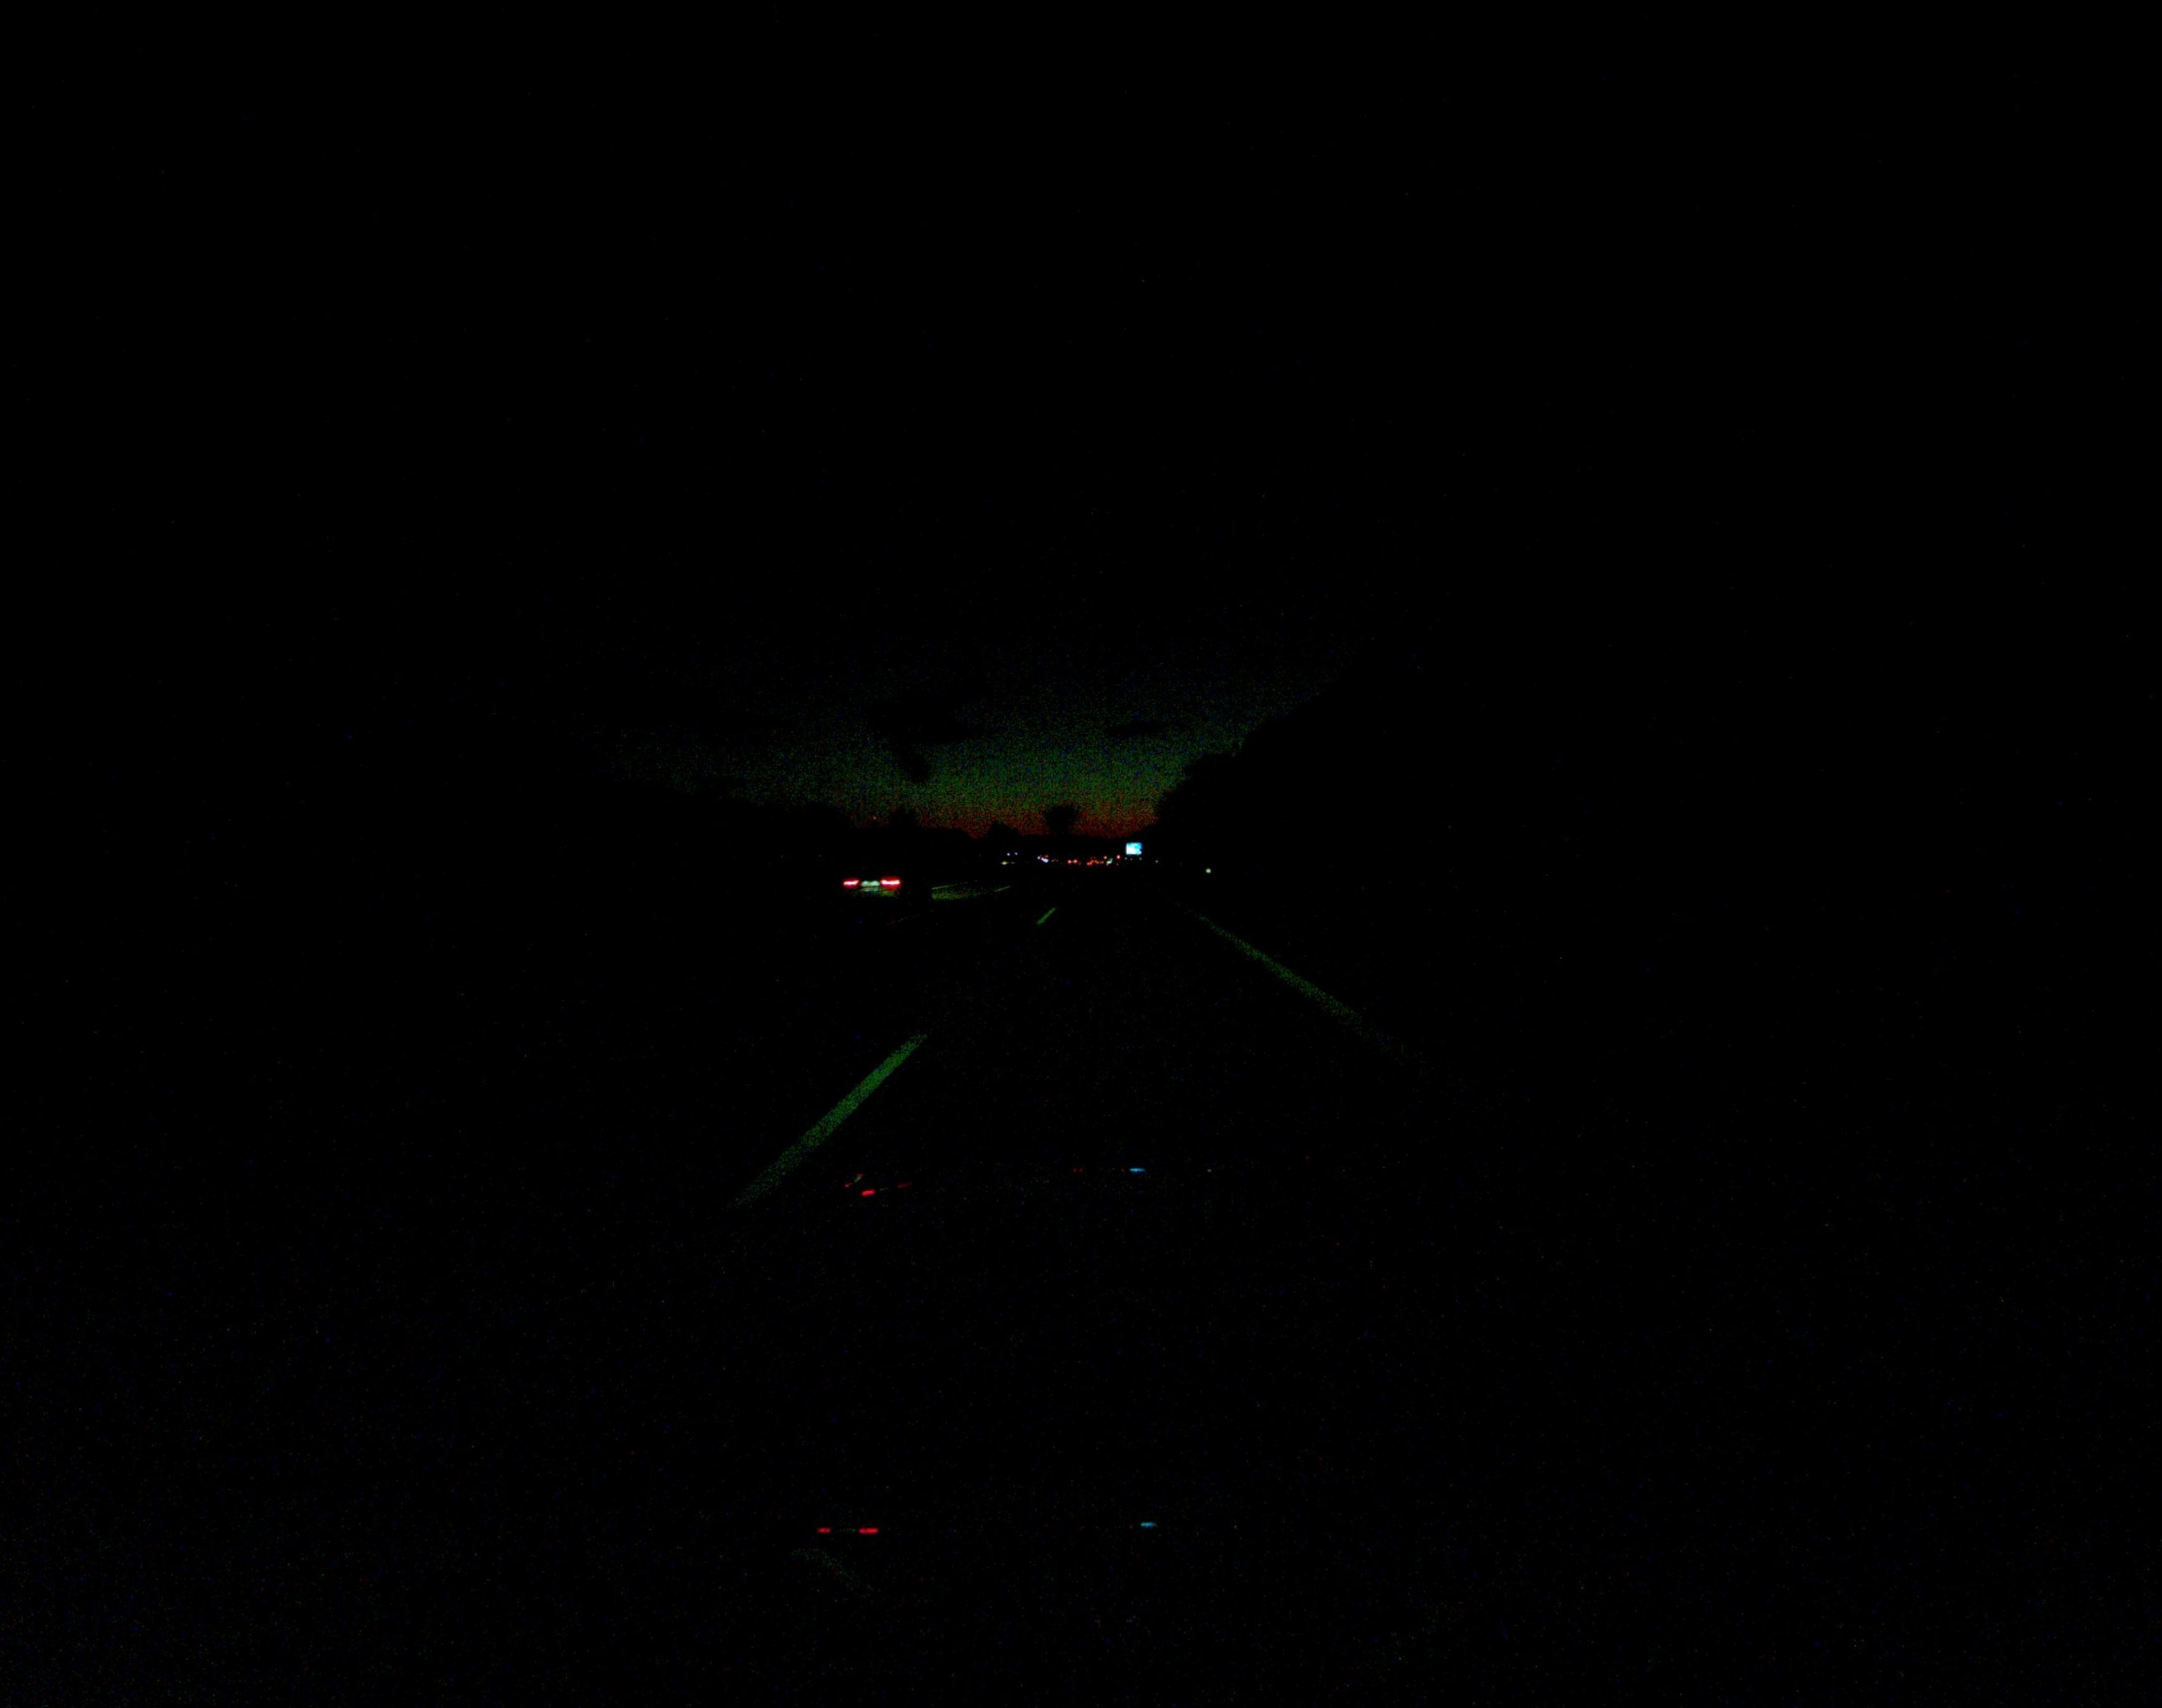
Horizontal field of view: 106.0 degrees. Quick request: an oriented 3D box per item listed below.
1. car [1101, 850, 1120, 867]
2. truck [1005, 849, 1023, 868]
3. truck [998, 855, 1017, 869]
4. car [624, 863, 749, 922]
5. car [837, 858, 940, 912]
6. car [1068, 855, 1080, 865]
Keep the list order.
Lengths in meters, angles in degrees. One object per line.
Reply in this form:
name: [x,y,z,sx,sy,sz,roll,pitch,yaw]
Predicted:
car: [3.735,0.544,102.958,2.188,1.955,4.765,-4,0,2]
truck: [-16.019,1.006,196.267,3.313,4.433,6.710,-3,0,2]
truck: [-14.690,1.564,162.946,2.862,2.641,7.889,-2,0,2]
car: [-14.452,1.356,30.198,2.188,1.955,4.765,0,0,2]
car: [-5.882,0.887,25.584,1.773,1.487,5.256,-1,0,2]
car: [-1.412,1.257,165.948,2.188,1.955,4.635,-1,0,2]
